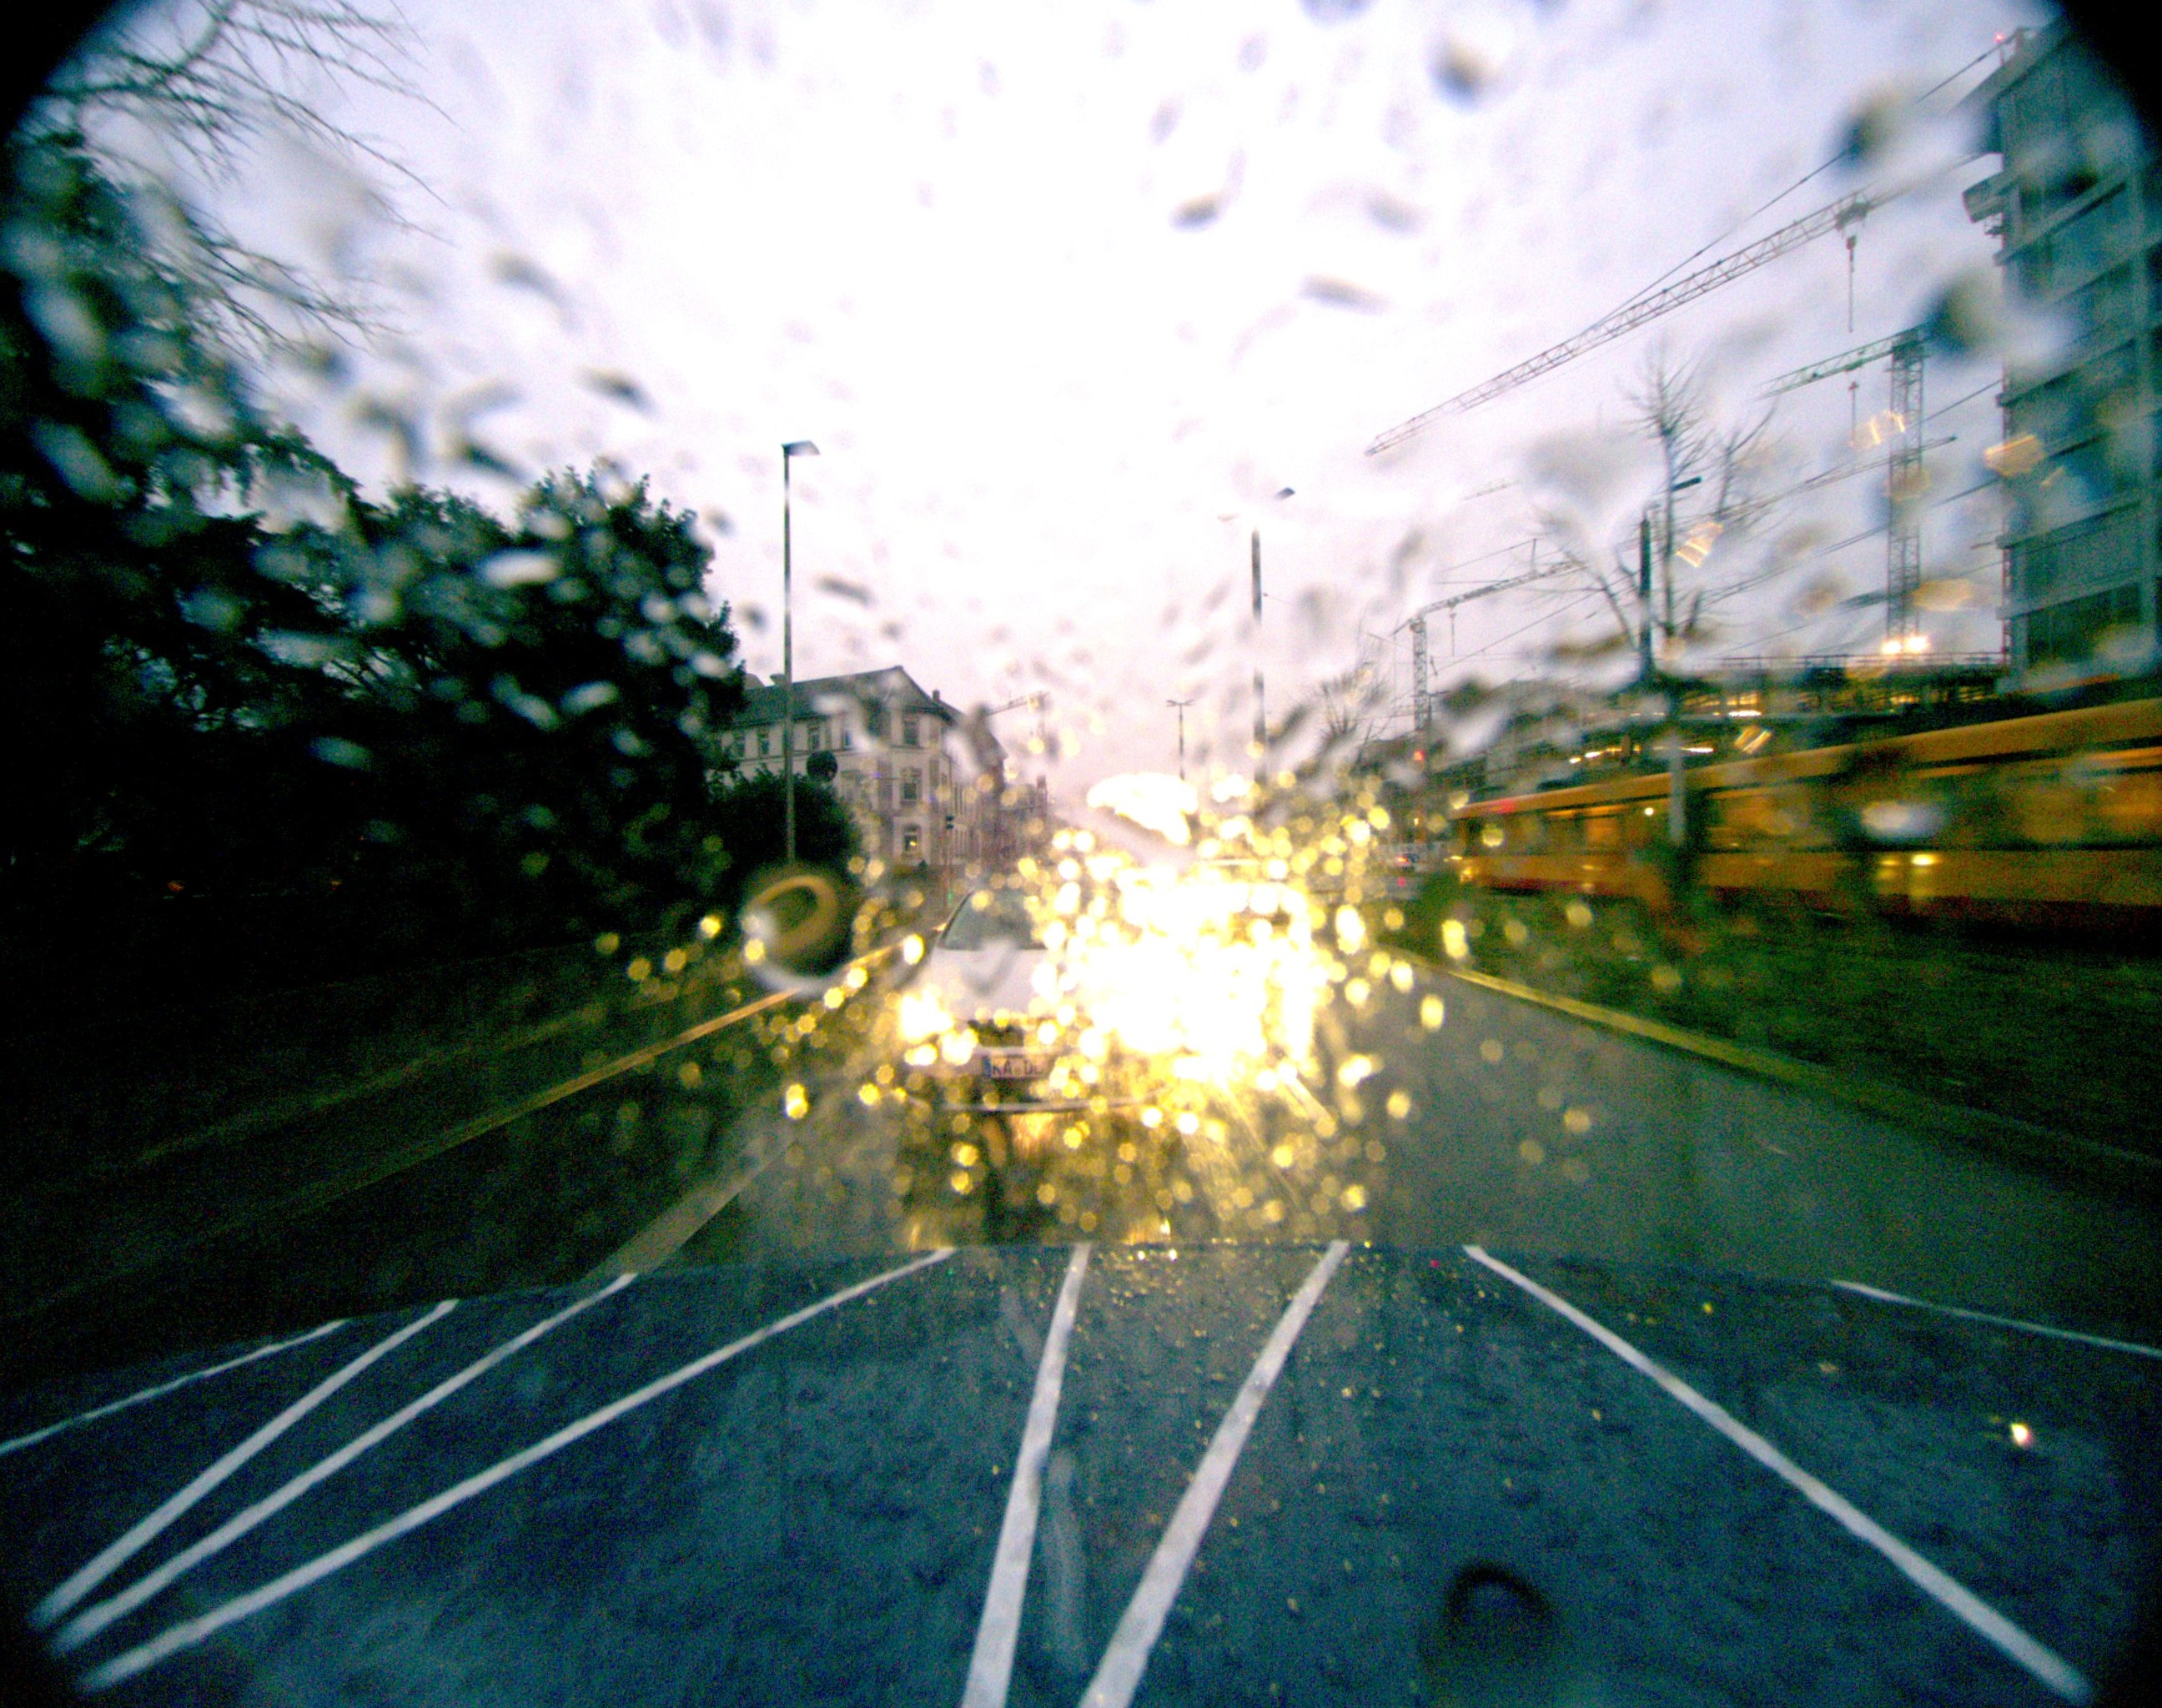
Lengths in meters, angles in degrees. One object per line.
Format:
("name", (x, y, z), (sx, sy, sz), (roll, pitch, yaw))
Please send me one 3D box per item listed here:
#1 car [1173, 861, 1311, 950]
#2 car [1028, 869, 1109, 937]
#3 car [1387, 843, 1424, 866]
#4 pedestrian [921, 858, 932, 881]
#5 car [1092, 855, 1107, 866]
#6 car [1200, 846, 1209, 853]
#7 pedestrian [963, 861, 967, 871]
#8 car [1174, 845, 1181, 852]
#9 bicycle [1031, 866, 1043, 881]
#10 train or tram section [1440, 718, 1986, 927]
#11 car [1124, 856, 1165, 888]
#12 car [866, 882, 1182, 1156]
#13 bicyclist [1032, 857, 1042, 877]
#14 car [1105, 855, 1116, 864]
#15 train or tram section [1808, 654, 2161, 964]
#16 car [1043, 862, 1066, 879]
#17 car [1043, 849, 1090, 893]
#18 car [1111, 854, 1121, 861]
("car", (3.073, 0.911, 15.474), (1.851, 1.397, 4.614), (-2, 0, 1))
("car", (-0.264, 1.120, 18.622), (1.728, 1.318, 3.981), (-2, 0, 0))
("car", (28.817, 0.051, 67.551), (1.997, 2.002, 4.002), (-1, 0, 8))
("pedestrian", (-9.977, 0.995, 49.085), (0.522, 1.501, 0.586), (-1, 1, -29))
("car", (2.755, 0.938, 111.194), (1.766, 1.363, 3.983), (-2, 0, 6))
("car", (34.632, -1.181, 213.763), (1.998, 1.812, 4.001), (-1, 0, 3))
("pedestrian", (-10.007, 1.038, 65.522), (0.326, 0.901, 0.377), (-1, 1, 0))
("car", (30.604, -1.797, 241.352), (1.998, 2.002, 4.000), (-1, 0, 1))
("bicycle", (-3.000, 1.311, 51.664), (0.647, 0.961, 2.046), (-1, 0, 1))
("train or tram section", (14.036, -0.534, 19.969), (2.964, 3.466, 14.320), (-1, 0, 3))
("car", (3.014, 0.821, 36.674), (1.767, 1.363, 3.982), (-2, 0, 3))
("car", (-0.322, 1.038, 6.437), (1.798, 1.363, 3.981), (-2, 0, 0))
("bicyclist", (-3.000, 0.894, 51.841), (0.647, 1.381, 0.890), (-1, 0, 1))
("car", (4.841, 0.888, 125.212), (1.767, 1.363, 3.982), (-2, 0, 3))
("train or tram section", (13.503, -0.513, 5.569), (2.964, 3.466, 14.266), (-1, 0, 1))
("car", (-2.307, 1.453, 66.990), (1.875, 1.403, 4.000), (-1, 0, 0))
("car", (-0.567, 0.645, 32.102), (1.781, 1.666, 3.981), (-2, 1, 0))
("car", (6.720, 0.660, 145.341), (1.767, 1.363, 3.982), (-2, 0, 3))
